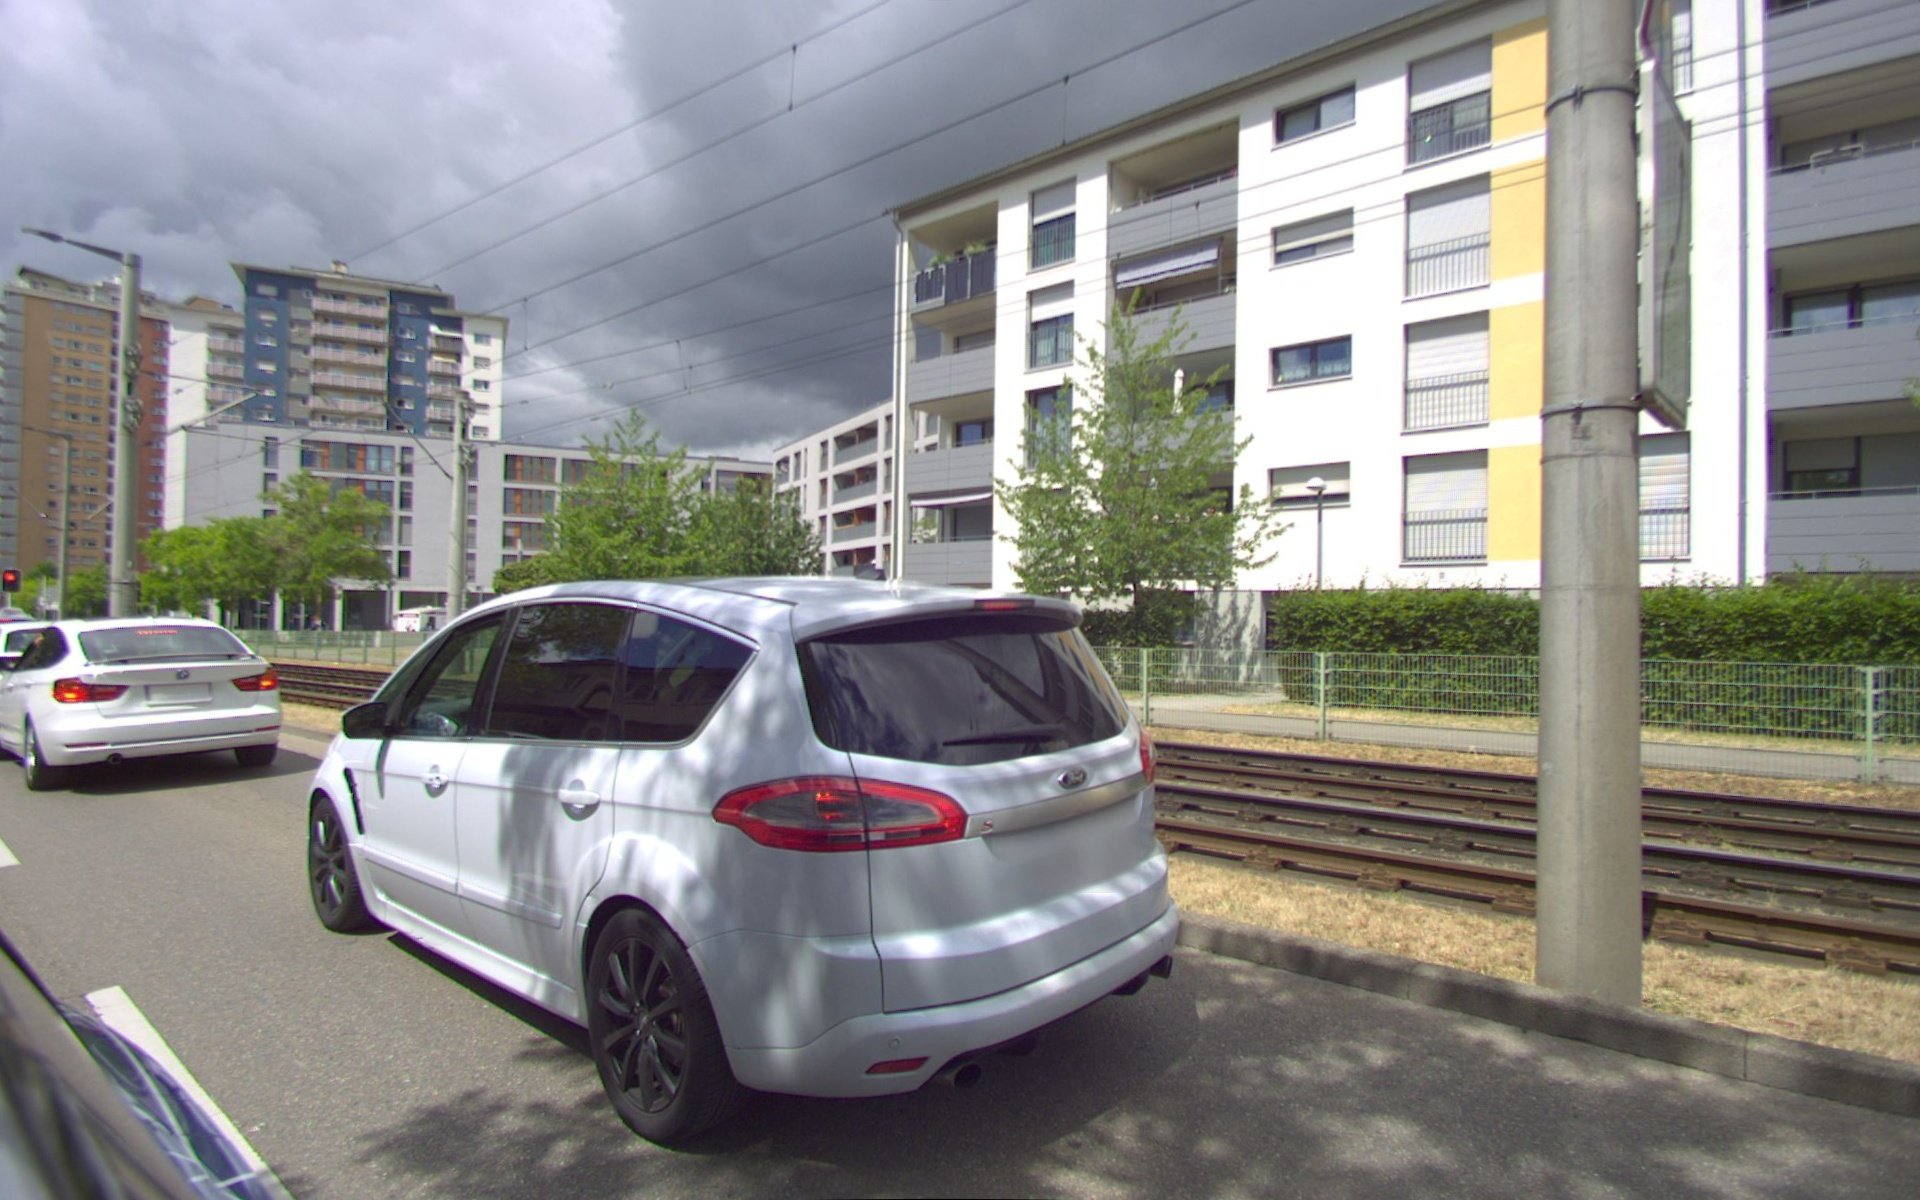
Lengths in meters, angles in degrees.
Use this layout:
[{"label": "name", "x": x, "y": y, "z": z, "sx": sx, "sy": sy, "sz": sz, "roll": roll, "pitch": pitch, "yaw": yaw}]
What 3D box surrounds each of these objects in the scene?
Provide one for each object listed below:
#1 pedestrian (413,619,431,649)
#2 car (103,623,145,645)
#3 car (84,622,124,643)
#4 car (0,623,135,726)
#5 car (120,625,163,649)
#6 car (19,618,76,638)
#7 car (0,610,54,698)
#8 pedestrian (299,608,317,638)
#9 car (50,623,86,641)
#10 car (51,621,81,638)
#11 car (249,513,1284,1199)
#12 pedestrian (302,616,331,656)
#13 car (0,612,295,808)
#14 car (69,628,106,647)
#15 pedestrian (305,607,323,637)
[{"label": "pedestrian", "x": -29.803, "y": 1.880, "z": 56.075, "sx": 0.744, "sy": 1.623, "sz": 0.535, "roll": -1, "pitch": -1, "yaw": 18}, {"label": "car", "x": -62.324, "y": 2.511, "z": 75.430, "sx": 3.802, "sy": 1.551, "sz": 1.869, "roll": -1, "pitch": -2, "yaw": 42}, {"label": "car", "x": -67.098, "y": 2.522, "z": 79.301, "sx": 3.800, "sy": 1.551, "sz": 1.759, "roll": -1, "pitch": -2, "yaw": 40}, {"label": "car", "x": -14.333, "y": 1.066, "z": 15.614, "sx": 3.936, "sy": 1.417, "sz": 1.729, "roll": -1, "pitch": -2, "yaw": 39}, {"label": "car", "x": -57.597, "y": 2.583, "z": 71.193, "sx": 3.805, "sy": 1.635, "sz": 1.868, "roll": -1, "pitch": -2, "yaw": 44}, {"label": "car", "x": -94.530, "y": 2.883, "z": 104.868, "sx": 1.855, "sy": 1.940, "sz": 4.496, "roll": 0, "pitch": -1, "yaw": 0}, {"label": "car", "x": -20.226, "y": 1.065, "z": 20.711, "sx": 4.429, "sy": 1.703, "sz": 1.839, "roll": -1, "pitch": -2, "yaw": 39}, {"label": "pedestrian", "x": -37.599, "y": 1.324, "z": 58.351, "sx": 0.538, "sy": 1.666, "sz": 0.740, "roll": -1, "pitch": -2, "yaw": 40}, {"label": "car", "x": -77.200, "y": 2.745, "z": 87.553, "sx": 3.800, "sy": 1.551, "sz": 1.759, "roll": -1, "pitch": -2, "yaw": 40}, {"label": "car", "x": -90.676, "y": 2.951, "z": 102.646, "sx": 3.800, "sy": 1.672, "sz": 1.759, "roll": -1, "pitch": -2, "yaw": 40}, {"label": "car", "x": -1.236, "y": 0.669, "z": 4.224, "sx": 4.599, "sy": 1.626, "sz": 1.798, "roll": -1, "pitch": -1, "yaw": 41}, {"label": "pedestrian", "x": -26.639, "y": 1.490, "z": 41.887, "sx": 0.937, "sy": 1.625, "sz": 0.746, "roll": -1, "pitch": -2, "yaw": 40}, {"label": "car", "x": -8.549, "y": 0.907, "z": 10.205, "sx": 4.833, "sy": 1.514, "sz": 1.799, "roll": -1, "pitch": -1, "yaw": 40}, {"label": "car", "x": -71.955, "y": 3.075, "z": 83.464, "sx": 3.800, "sy": 1.551, "sz": 1.759, "roll": -1, "pitch": -2, "yaw": 40}, {"label": "pedestrian", "x": -36.976, "y": 1.266, "z": 57.898, "sx": 0.538, "sy": 1.666, "sz": 0.740, "roll": -1, "pitch": -2, "yaw": 40}]
